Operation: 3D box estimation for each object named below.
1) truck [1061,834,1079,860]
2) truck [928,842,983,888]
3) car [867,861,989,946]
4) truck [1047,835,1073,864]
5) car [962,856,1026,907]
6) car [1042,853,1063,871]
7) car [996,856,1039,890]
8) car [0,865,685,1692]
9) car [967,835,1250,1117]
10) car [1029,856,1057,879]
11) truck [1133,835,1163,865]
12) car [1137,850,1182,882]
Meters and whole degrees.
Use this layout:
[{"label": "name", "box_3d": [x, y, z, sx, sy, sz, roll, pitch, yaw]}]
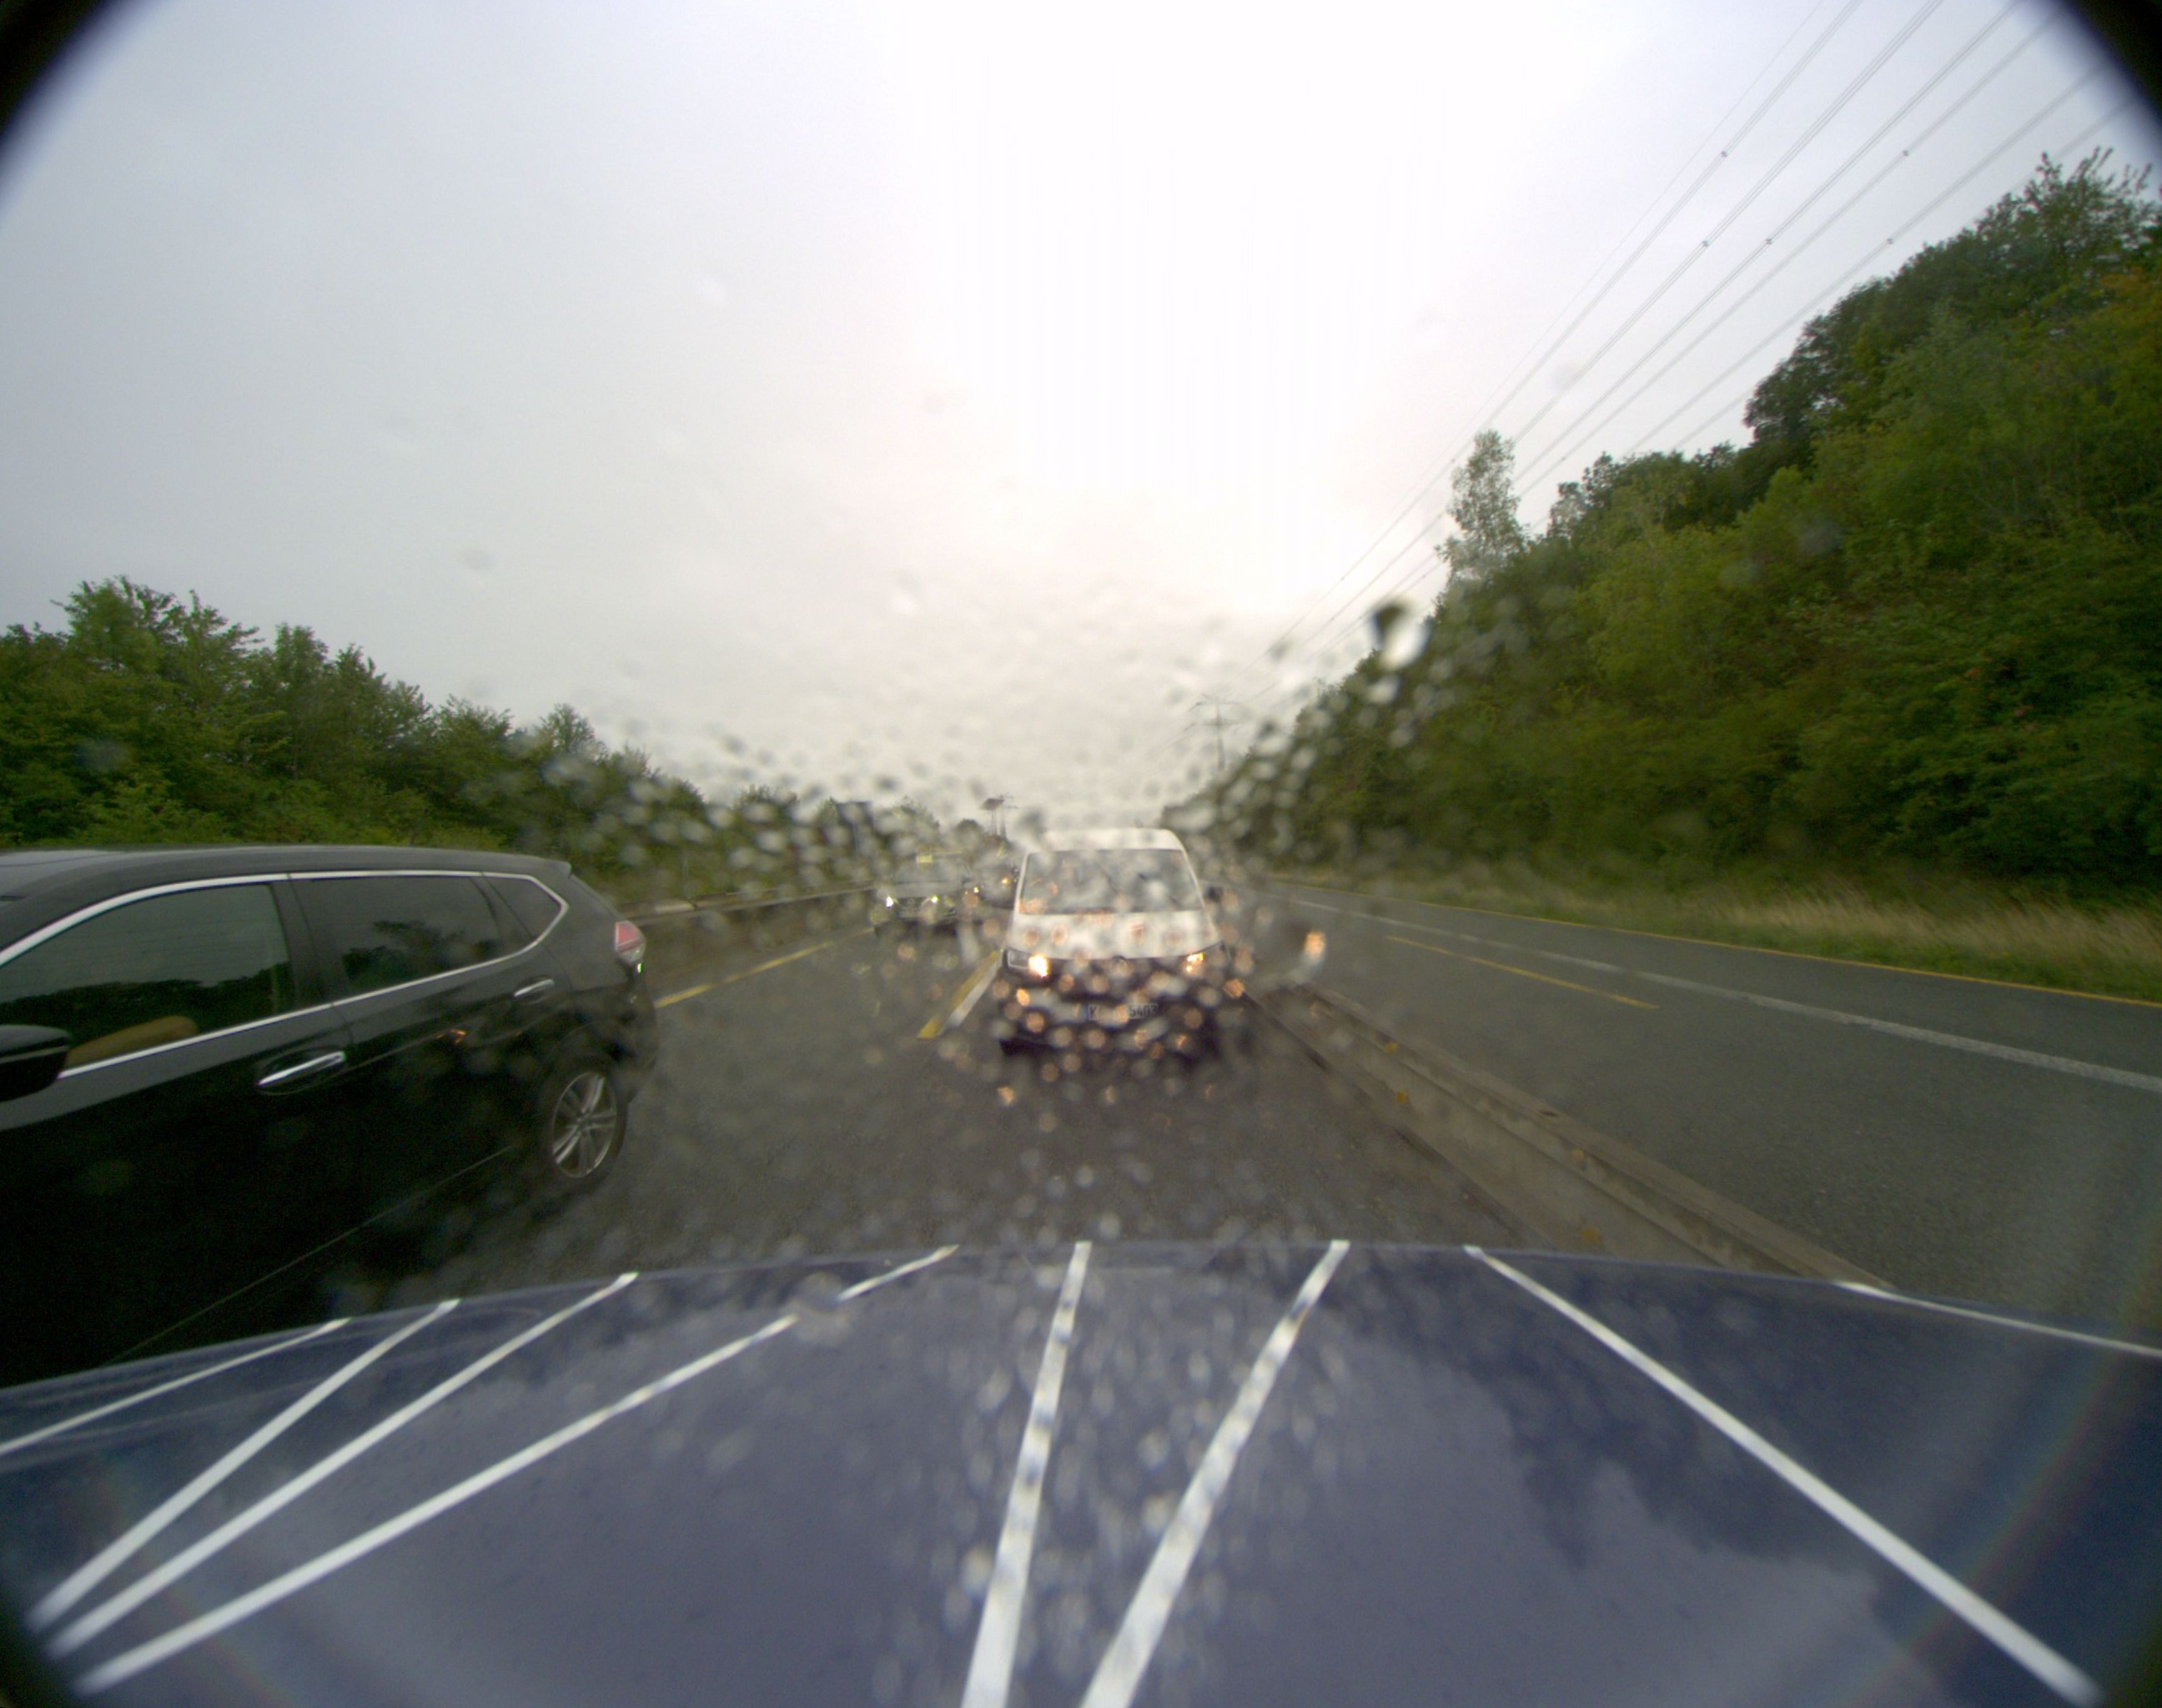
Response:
[{"label": "truck", "box_3d": [-1.762, -1.062, 121.094, 2.619, 3.869, 9.573, -2, 1, 0]}, {"label": "truck", "box_3d": [-10.149, 0.765, 62.532, 2.619, 3.404, 9.575, -2, 1, 2]}, {"label": "car", "box_3d": [-3.139, 0.952, 16.423, 1.784, 1.482, 4.123, -2, 1, -1]}, {"label": "truck", "box_3d": [-2.575, -0.625, 96.042, 2.619, 3.404, 9.575, -2, 1, 1]}, {"label": "car", "box_3d": [-3.025, 0.909, 27.102, 1.784, 1.589, 4.123, -2, 1, -1]}, {"label": "car", "box_3d": [-2.639, 0.722, 70.265, 1.784, 1.482, 4.123, -2, 1, -1]}, {"label": "car", "box_3d": [-3.081, 0.918, 37.793, 1.784, 1.482, 4.123, -2, 1, -1]}, {"label": "car", "box_3d": [-3.248, 0.955, 2.055, 1.894, 1.665, 4.640, -2, 1, -1]}, {"label": "car", "box_3d": [0.161, 0.769, 7.279, 1.784, 1.775, 4.697, -2, 1, -1]}, {"label": "car", "box_3d": [-2.744, 0.974, 55.279, 1.784, 1.482, 4.123, -2, 1, -1]}, {"label": "truck", "box_3d": [8.055, -0.549, 92.712, 2.541, 3.333, 12.048, -2, 1, 1]}, {"label": "car", "box_3d": [4.035, 0.596, 39.498, 1.815, 1.479, 4.395, -2, 1, 0]}]
